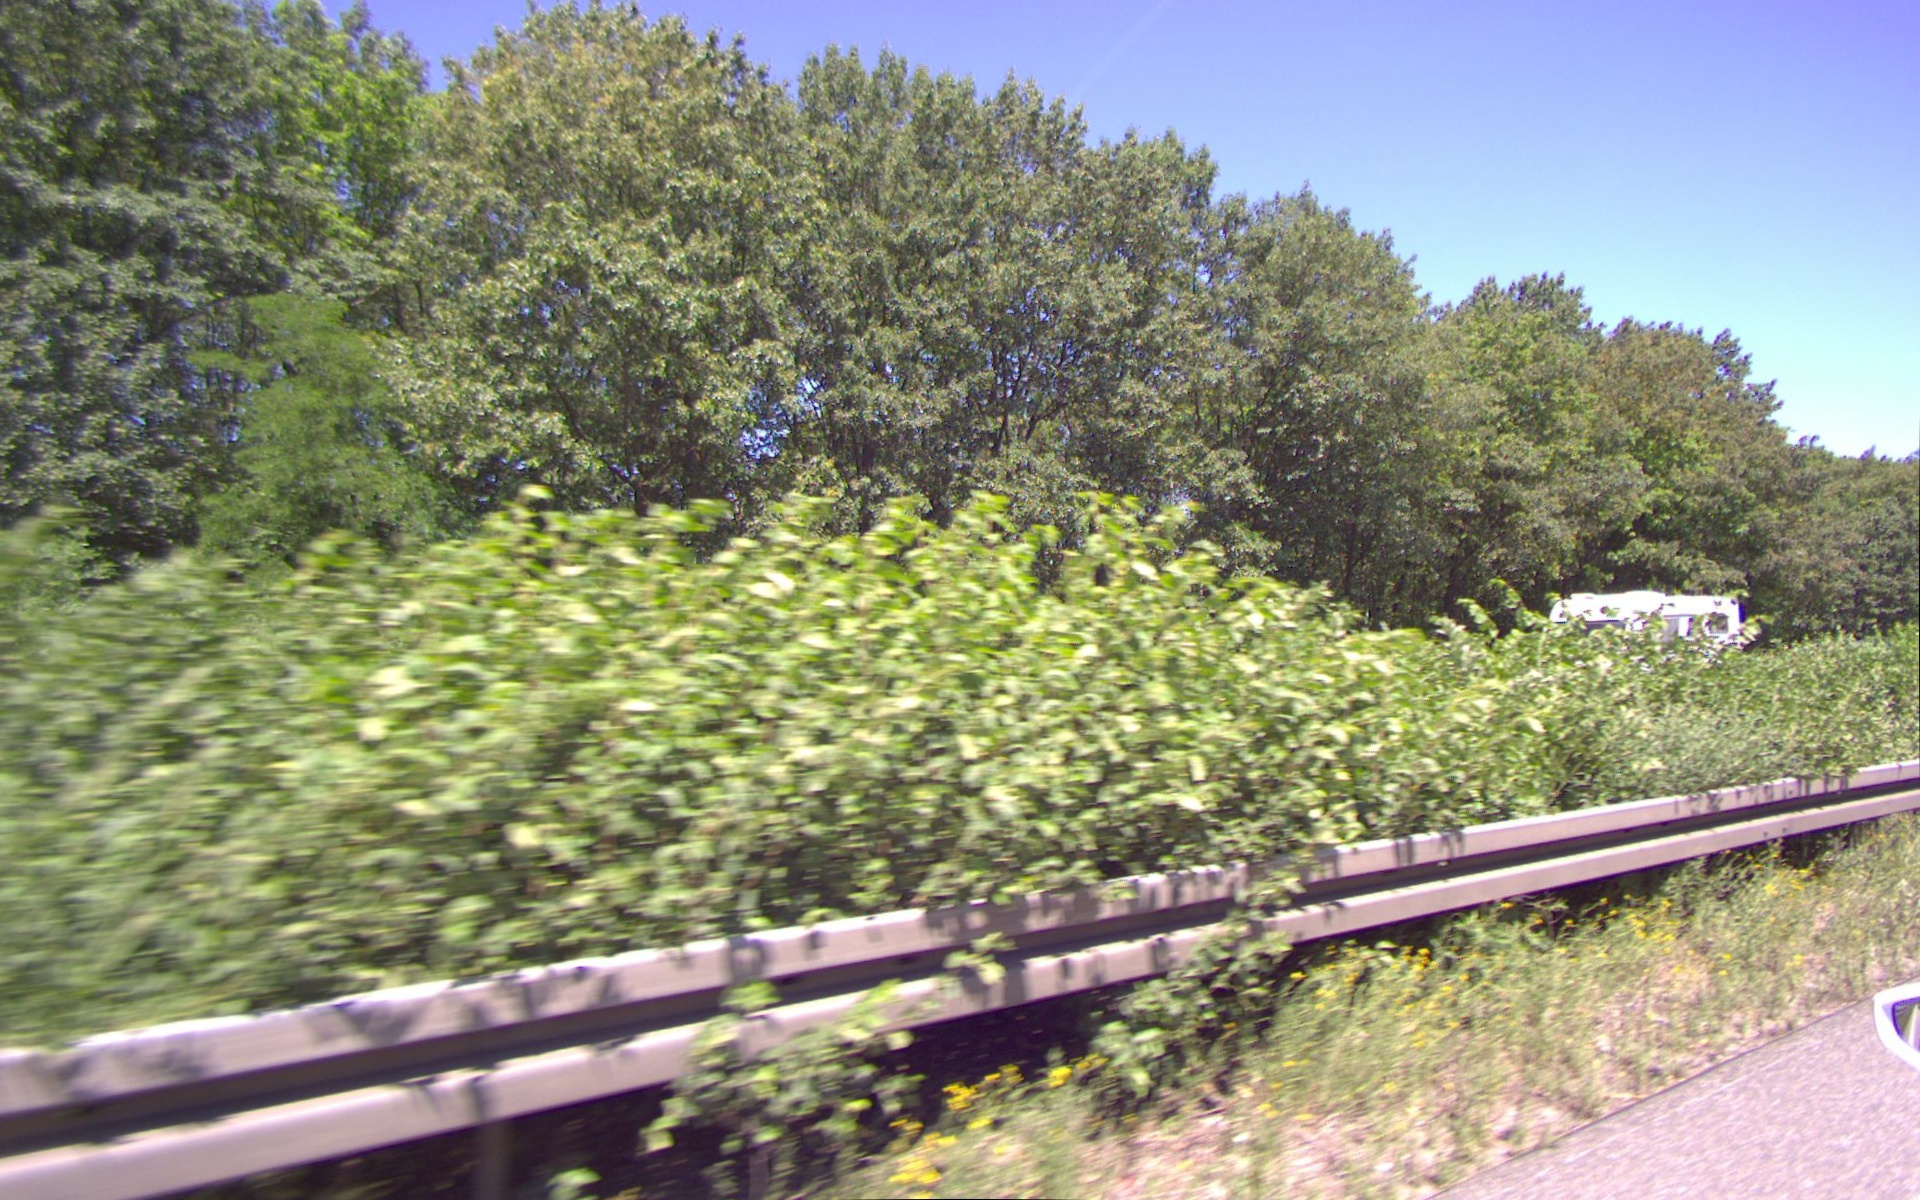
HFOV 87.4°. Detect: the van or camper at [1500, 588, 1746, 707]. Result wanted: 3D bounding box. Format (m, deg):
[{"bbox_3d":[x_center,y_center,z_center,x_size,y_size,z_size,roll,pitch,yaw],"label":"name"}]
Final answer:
[{"bbox_3d":[19.823,1.366,29.806,8.980,3.153,2.408,1,-1,-31],"label":"van or camper"}]
